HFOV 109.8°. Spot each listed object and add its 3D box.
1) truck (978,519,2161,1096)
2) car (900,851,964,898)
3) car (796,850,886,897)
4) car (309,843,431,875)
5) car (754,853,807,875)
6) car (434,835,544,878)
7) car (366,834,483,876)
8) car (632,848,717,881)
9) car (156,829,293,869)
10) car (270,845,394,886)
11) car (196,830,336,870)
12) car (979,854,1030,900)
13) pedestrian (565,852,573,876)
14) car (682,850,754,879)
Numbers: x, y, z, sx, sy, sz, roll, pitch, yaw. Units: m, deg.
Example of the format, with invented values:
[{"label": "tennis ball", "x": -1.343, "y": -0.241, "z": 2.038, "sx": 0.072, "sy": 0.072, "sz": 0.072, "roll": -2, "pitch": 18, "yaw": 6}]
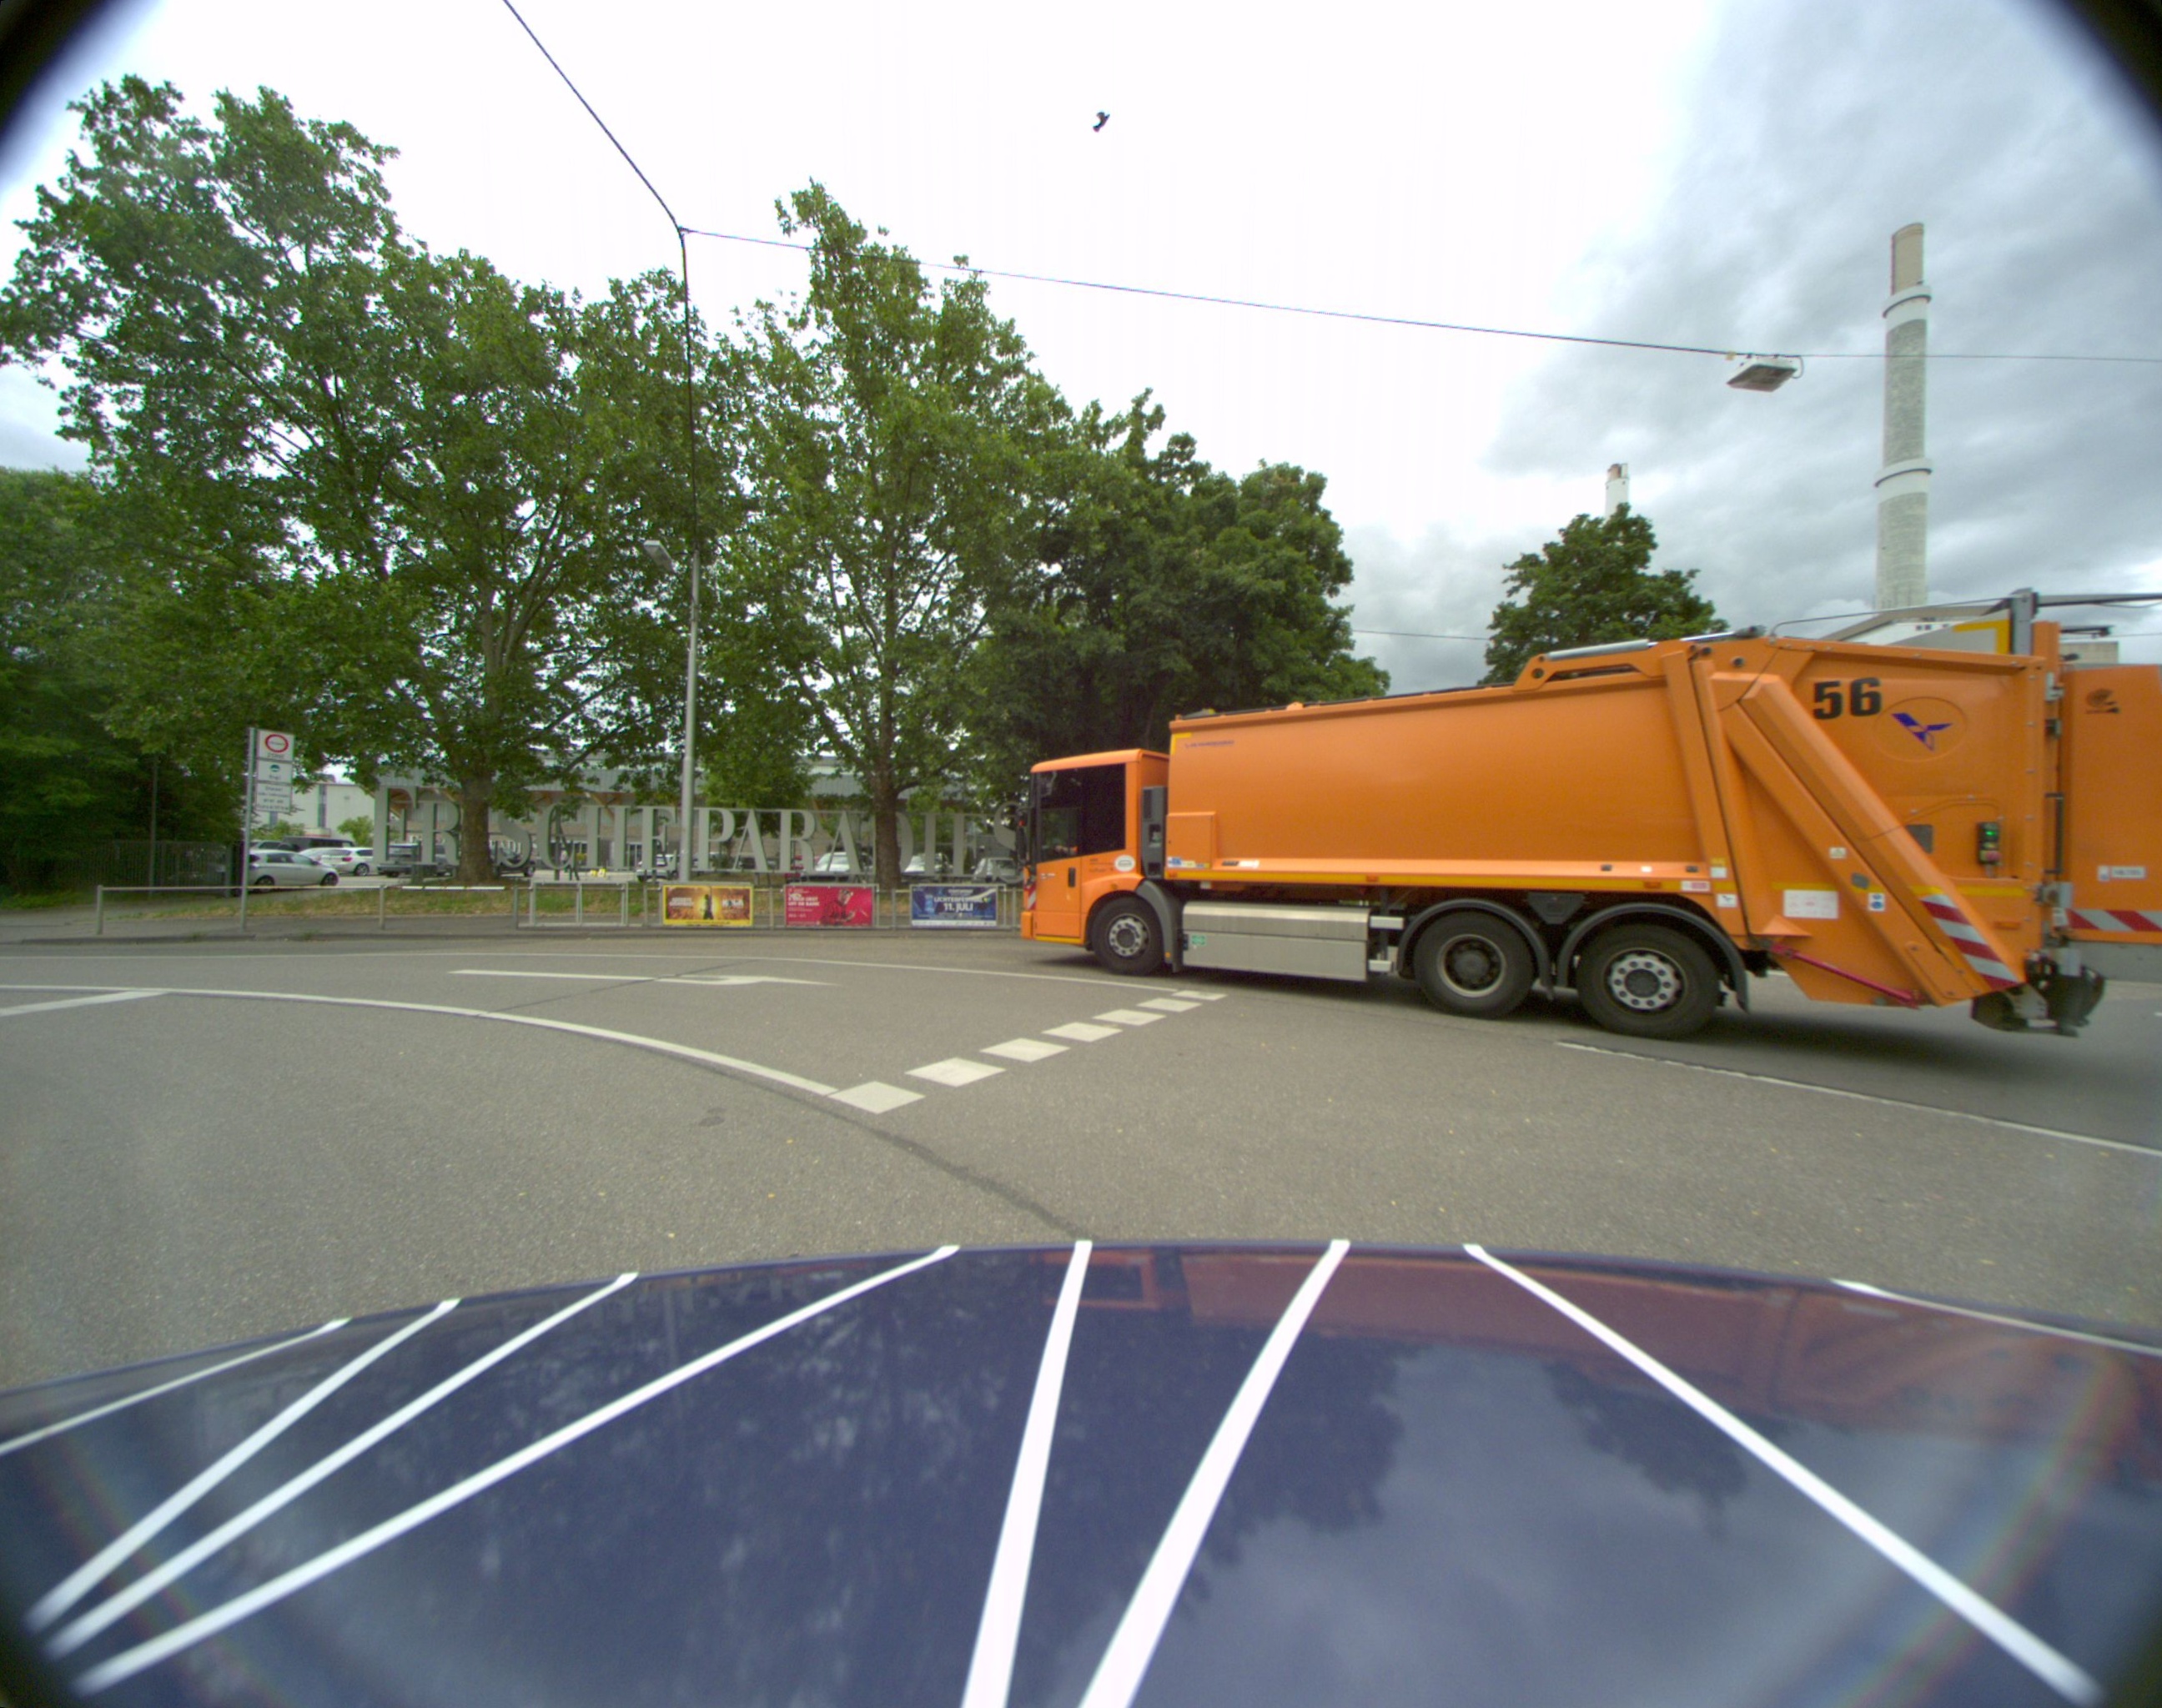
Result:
[{"label": "truck", "x": 3.621, "y": -0.198, "z": 8.476, "sx": 10.392, "sy": 3.505, "sz": 2.804, "roll": -1, "pitch": -1, "yaw": 36}, {"label": "car", "x": -5.537, "y": 0.777, "z": 28.701, "sx": 1.591, "sy": 1.603, "sz": 4.318, "roll": 1, "pitch": -2, "yaw": -1}, {"label": "car", "x": -8.997, "y": 0.748, "z": 28.947, "sx": 1.883, "sy": 1.603, "sz": 4.527, "roll": 1, "pitch": -2, "yaw": 1}, {"label": "car", "x": -36.924, "y": 0.293, "z": 39.660, "sx": 1.999, "sy": 1.549, "sz": 4.641, "roll": 1, "pitch": -1, "yaw": -1}, {"label": "car", "x": -21.857, "y": 0.742, "z": 55.446, "sx": 1.999, "sy": 1.552, "sz": 4.641, "roll": 1, "pitch": -1, "yaw": -1}, {"label": "car", "x": -30.297, "y": 0.164, "z": 39.118, "sx": 1.999, "sy": 2.001, "sz": 4.641, "roll": 1, "pitch": -1, "yaw": -1}, {"label": "car", "x": -33.643, "y": 0.112, "z": 39.159, "sx": 1.999, "sy": 2.001, "sz": 4.641, "roll": 1, "pitch": -1, "yaw": -1}, {"label": "car", "x": -21.119, "y": 0.569, "z": 39.720, "sx": 1.999, "sy": 1.552, "sz": 4.641, "roll": 1, "pitch": -1, "yaw": -1}, {"label": "car", "x": -46.637, "y": -0.220, "z": 41.577, "sx": 1.999, "sy": 2.001, "sz": 4.824, "roll": 1, "pitch": -1, "yaw": -1}, {"label": "car", "x": -39.708, "y": 0.630, "z": 40.472, "sx": 1.999, "sy": 2.001, "sz": 4.641, "roll": 1, "pitch": -1, "yaw": -1}, {"label": "car", "x": -43.501, "y": -0.146, "z": 40.794, "sx": 1.999, "sy": 1.986, "sz": 5.103, "roll": 1, "pitch": -1, "yaw": -1}, {"label": "car", "x": -2.832, "y": 0.869, "z": 28.755, "sx": 1.591, "sy": 1.603, "sz": 4.001, "roll": 1, "pitch": -2, "yaw": -1}, {"label": "pedestrian", "x": -37.989, "y": 0.740, "z": 56.351, "sx": 0.342, "sy": 1.754, "sz": 0.437, "roll": 2, "pitch": -2, "yaw": -23}, {"label": "car", "x": -21.156, "y": 0.634, "z": 44.546, "sx": 1.999, "sy": 1.552, "sz": 4.641, "roll": 1, "pitch": -1, "yaw": -1}]
